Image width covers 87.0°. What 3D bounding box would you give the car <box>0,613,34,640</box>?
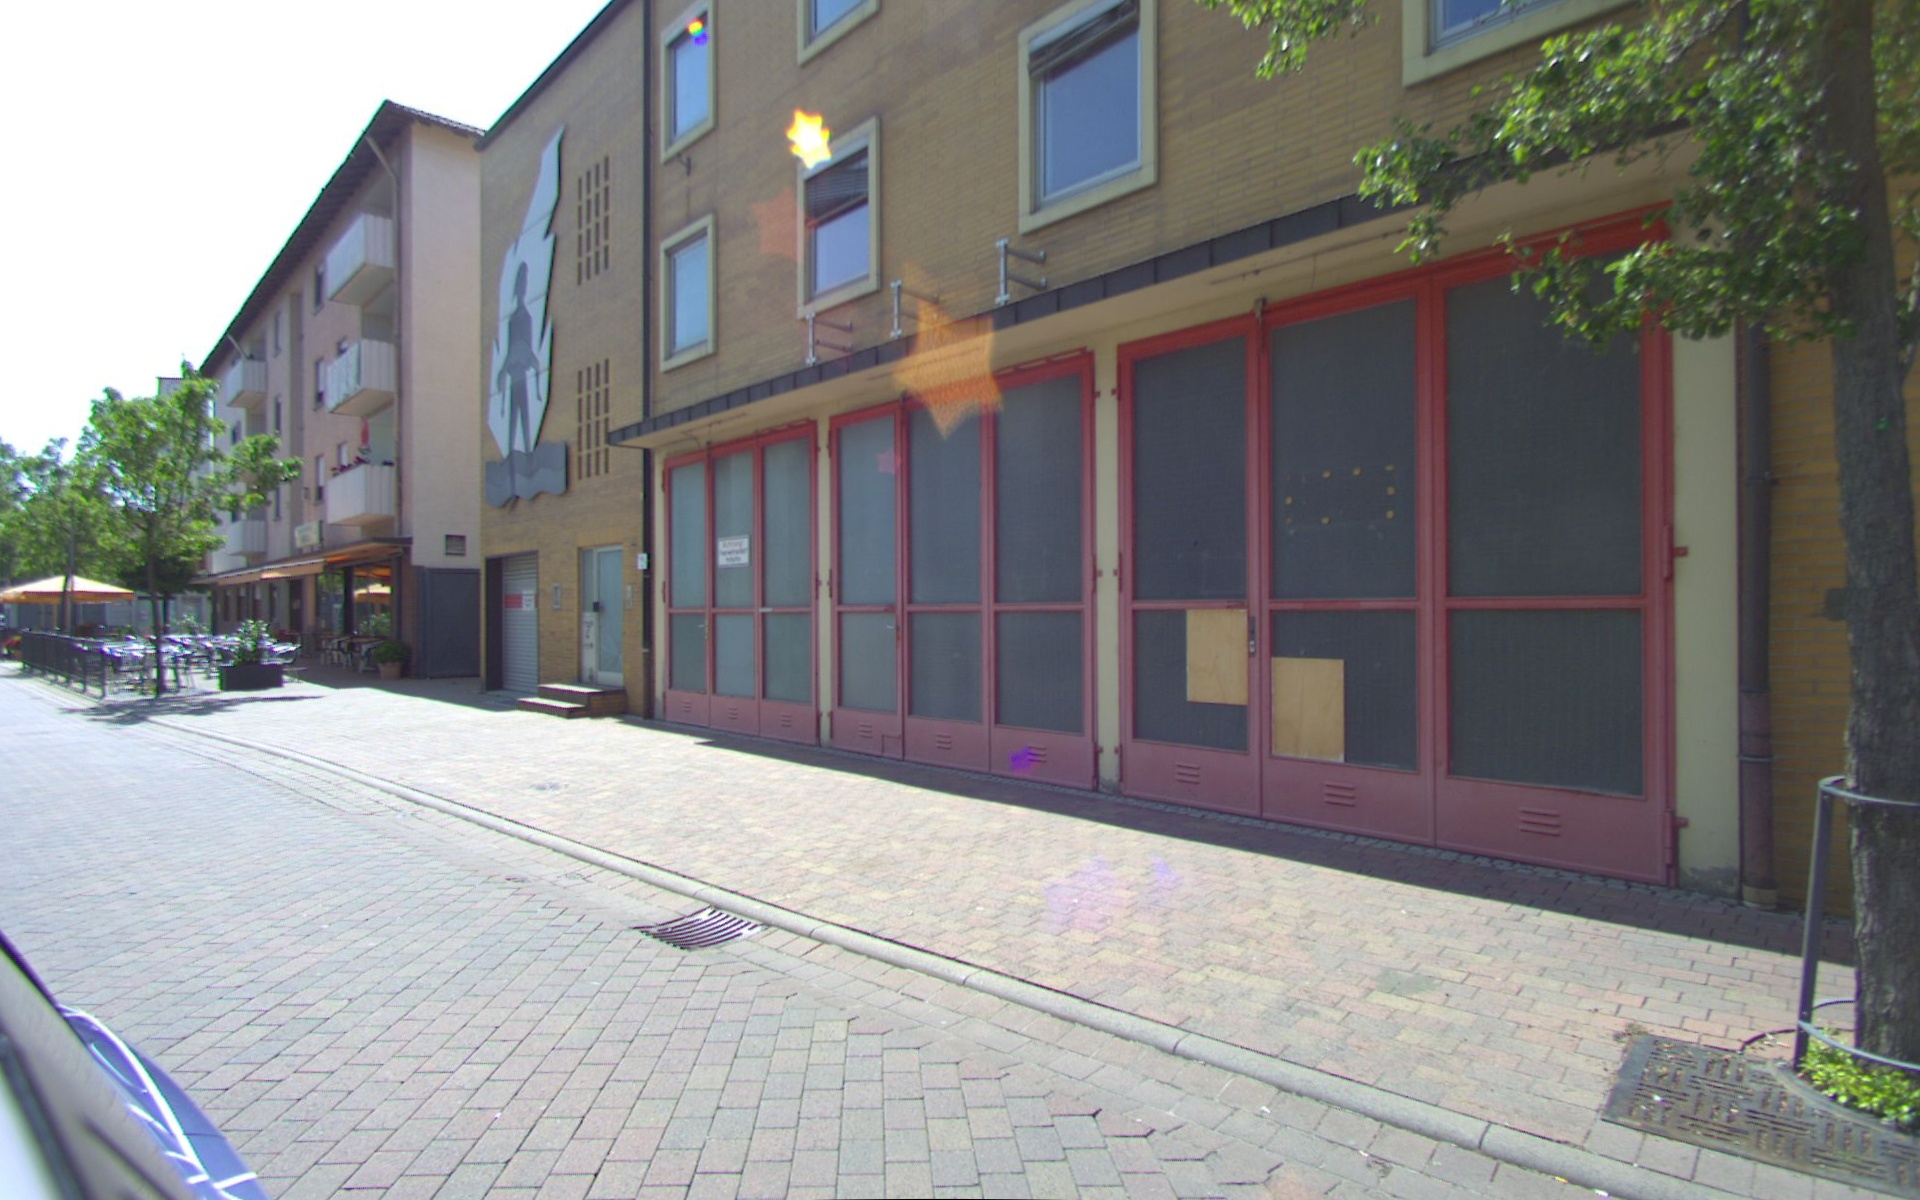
[{"bbox_3d":[-58.366,1.601,61.048,1.871,1.568,5.048,0,-1,-20],"label":"car"}]
